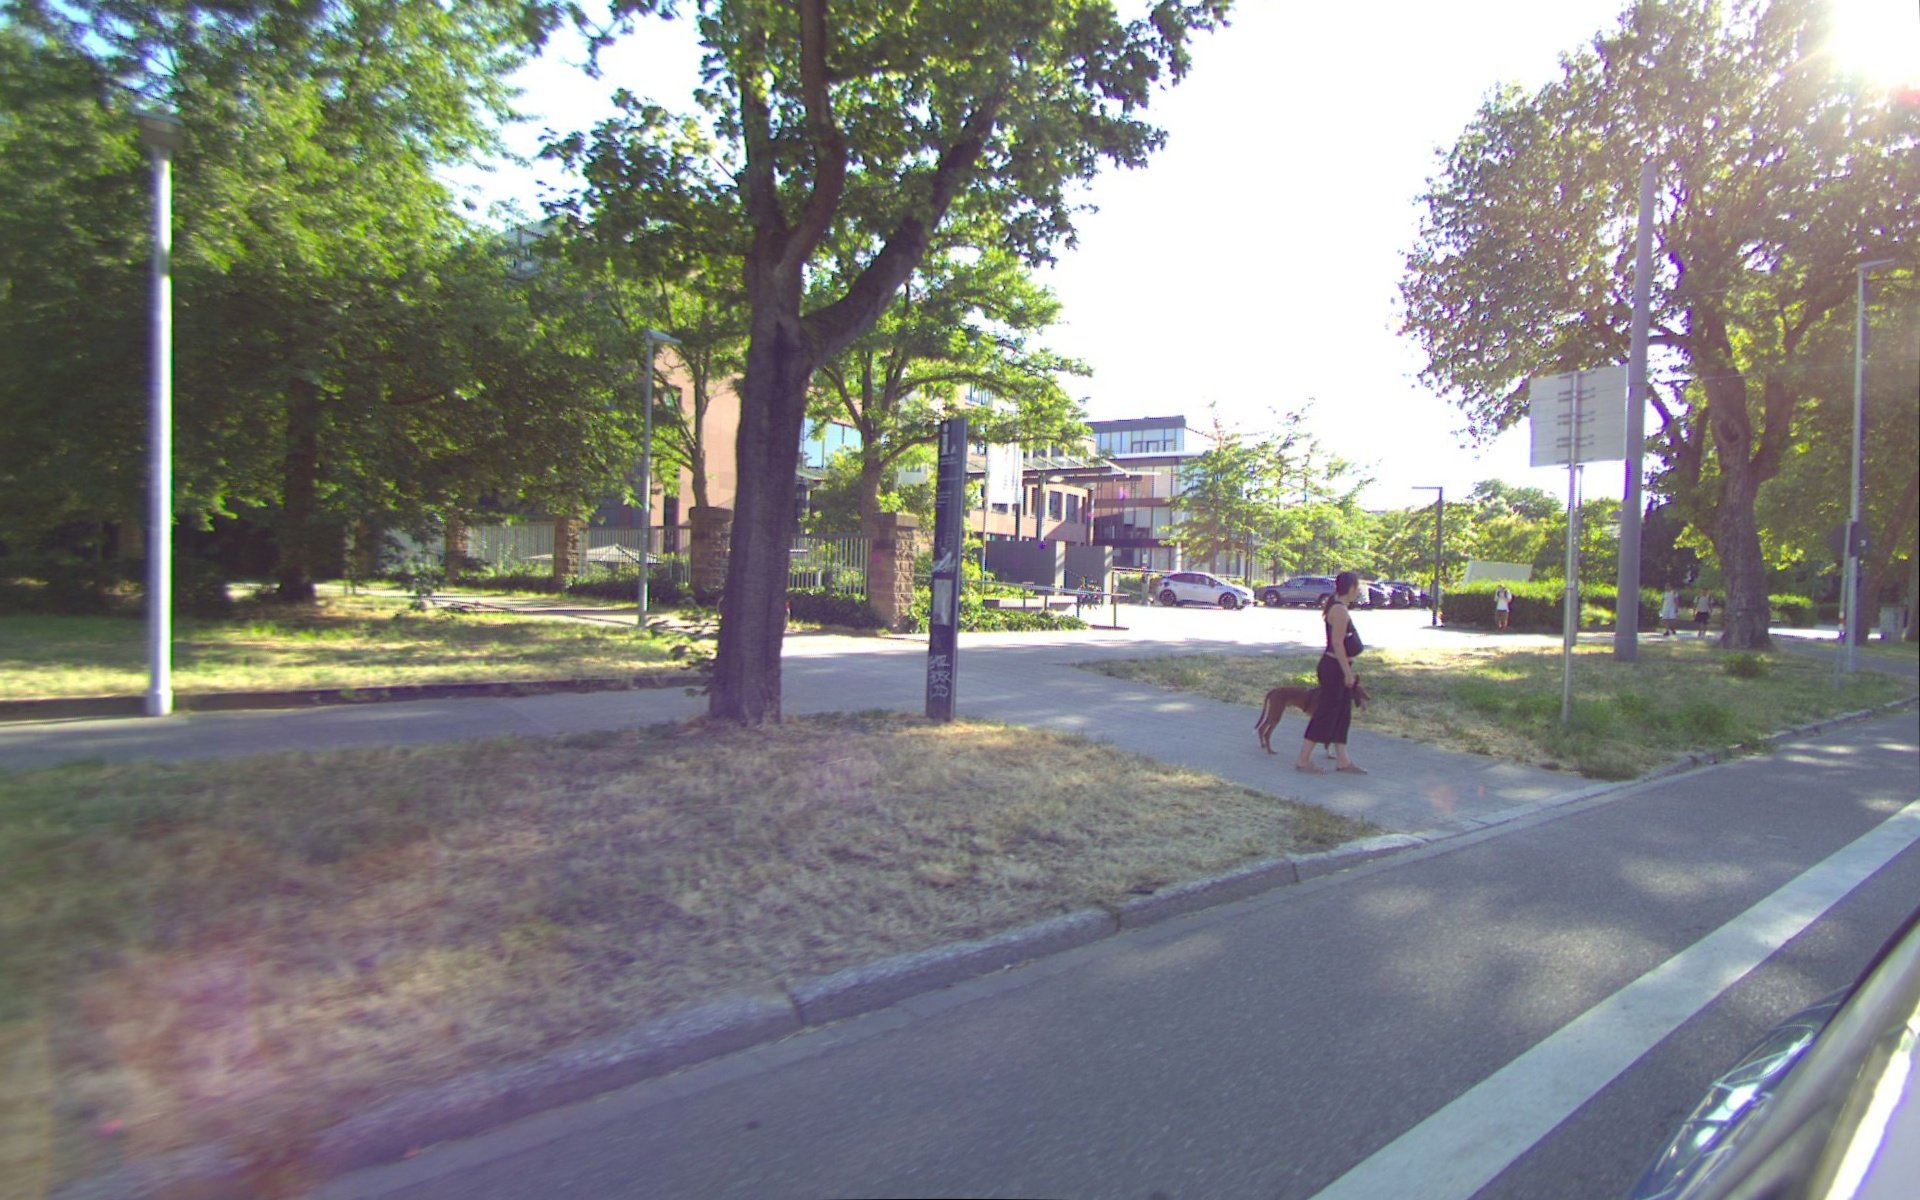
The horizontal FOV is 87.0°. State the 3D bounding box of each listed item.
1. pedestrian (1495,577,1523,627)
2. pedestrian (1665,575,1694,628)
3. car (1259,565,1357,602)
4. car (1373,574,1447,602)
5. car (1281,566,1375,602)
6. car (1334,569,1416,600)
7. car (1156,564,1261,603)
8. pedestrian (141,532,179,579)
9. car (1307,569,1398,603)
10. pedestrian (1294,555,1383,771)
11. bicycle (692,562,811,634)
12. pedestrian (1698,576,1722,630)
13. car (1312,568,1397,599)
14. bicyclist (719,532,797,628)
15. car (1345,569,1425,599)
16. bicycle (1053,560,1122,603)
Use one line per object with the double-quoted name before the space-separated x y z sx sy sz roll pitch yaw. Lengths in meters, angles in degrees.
"pedestrian" 16.474 0.052 30.387 0.504 1.460 0.550 1 2 -41
"pedestrian" 25.684 0.041 36.127 0.555 1.864 0.645 1 2 -40
"car" 17.260 -0.822 50.248 4.352 1.645 1.781 3 2 30
"car" 30.289 -0.817 68.146 4.352 1.645 1.781 3 2 30
"car" 19.149 -0.859 52.670 4.352 1.645 1.781 3 2 30
"car" 24.829 -0.965 60.554 4.352 1.645 1.781 3 2 30
"car" 10.861 -0.750 44.298 4.121 1.529 1.779 3 2 33
"pedestrian" -30.893 -1.700 39.090 0.823 1.778 1.012 0 0 41
"car" 21.147 -0.757 54.555 4.352 1.645 1.781 3 2 30
"pedestrian" 3.110 0.490 8.310 0.527 1.683 0.482 4 2 29
"bicycle" -3.614 -0.064 17.412 2.278 1.069 0.611 5 3 37
"pedestrian" 26.304 0.093 35.487 0.555 1.864 0.502 1 2 -41
"car" 22.872 -0.973 58.660 4.352 1.645 1.781 3 2 30
"bicyclist" -3.458 -0.353 17.291 1.200 1.558 0.611 5 3 37
"car" 26.220 -0.991 62.516 4.352 1.645 1.781 3 2 30
"bicycle" 4.388 -0.610 34.703 2.591 1.407 0.746 0 2 -41
